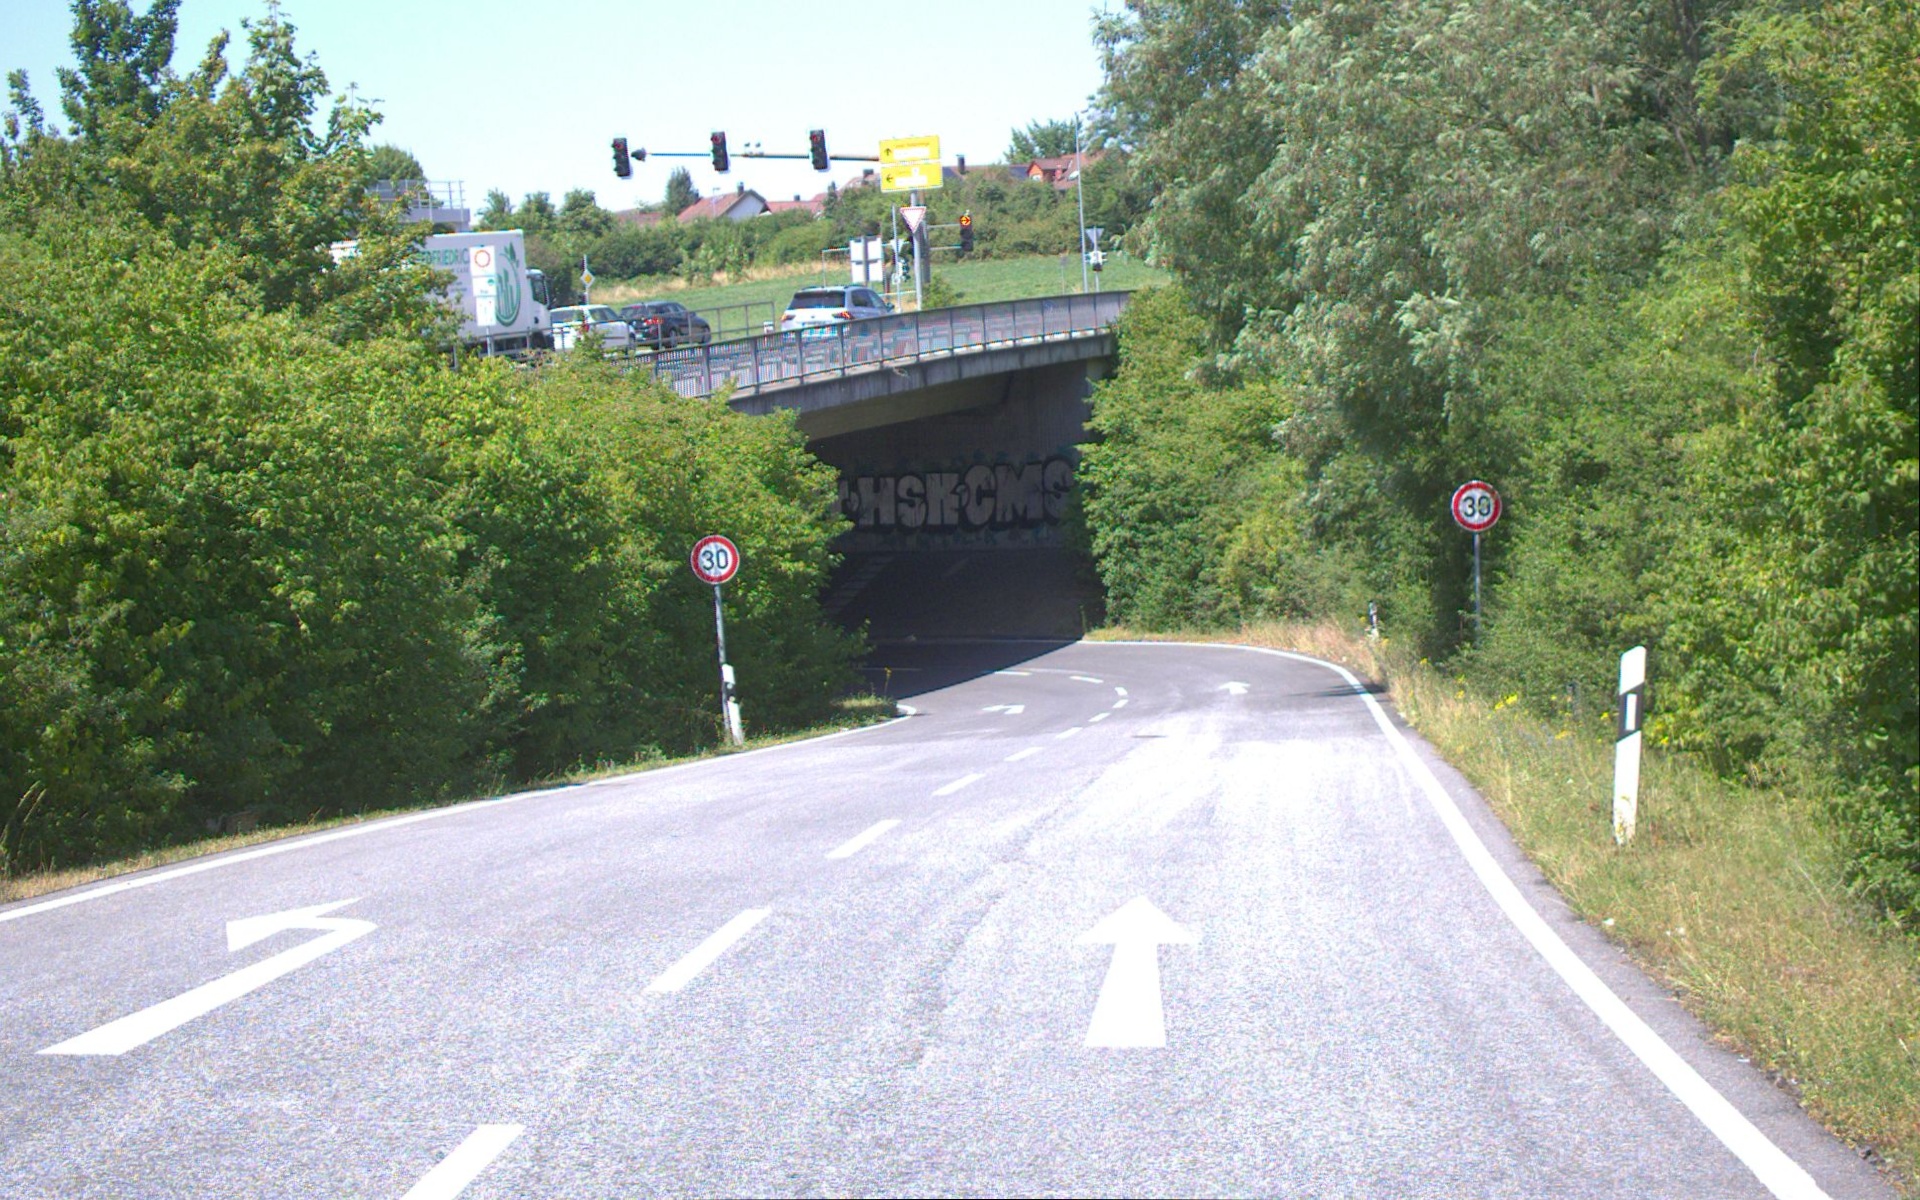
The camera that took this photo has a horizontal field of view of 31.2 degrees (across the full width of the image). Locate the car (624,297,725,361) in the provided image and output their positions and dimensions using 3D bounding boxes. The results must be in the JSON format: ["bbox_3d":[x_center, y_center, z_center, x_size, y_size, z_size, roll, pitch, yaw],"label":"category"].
[{"bbox_3d":[-8.332,-7.912,100.632,1.994,1.612,3.999,-1,2,9],"label":"car"}]

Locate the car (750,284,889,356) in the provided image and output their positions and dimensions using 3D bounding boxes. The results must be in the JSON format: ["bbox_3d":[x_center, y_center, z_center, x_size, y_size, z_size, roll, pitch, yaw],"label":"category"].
[{"bbox_3d":[-3.088,-6.218,76.516,1.995,1.415,3.999,-4,3,14],"label":"car"}]

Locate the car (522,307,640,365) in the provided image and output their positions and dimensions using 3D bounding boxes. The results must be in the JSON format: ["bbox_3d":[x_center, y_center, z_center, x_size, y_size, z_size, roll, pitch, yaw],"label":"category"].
[{"bbox_3d":[-10.441,-7.275,94.896,1.898,1.358,3.998,-1,2,15],"label":"car"}]

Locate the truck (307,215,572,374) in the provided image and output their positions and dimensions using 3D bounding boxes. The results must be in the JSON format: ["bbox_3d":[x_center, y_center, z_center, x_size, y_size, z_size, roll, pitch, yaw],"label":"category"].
[{"bbox_3d":[-12.988,-7.653,86.844,3.029,3.577,8.899,-3,3,15],"label":"truck"}]
